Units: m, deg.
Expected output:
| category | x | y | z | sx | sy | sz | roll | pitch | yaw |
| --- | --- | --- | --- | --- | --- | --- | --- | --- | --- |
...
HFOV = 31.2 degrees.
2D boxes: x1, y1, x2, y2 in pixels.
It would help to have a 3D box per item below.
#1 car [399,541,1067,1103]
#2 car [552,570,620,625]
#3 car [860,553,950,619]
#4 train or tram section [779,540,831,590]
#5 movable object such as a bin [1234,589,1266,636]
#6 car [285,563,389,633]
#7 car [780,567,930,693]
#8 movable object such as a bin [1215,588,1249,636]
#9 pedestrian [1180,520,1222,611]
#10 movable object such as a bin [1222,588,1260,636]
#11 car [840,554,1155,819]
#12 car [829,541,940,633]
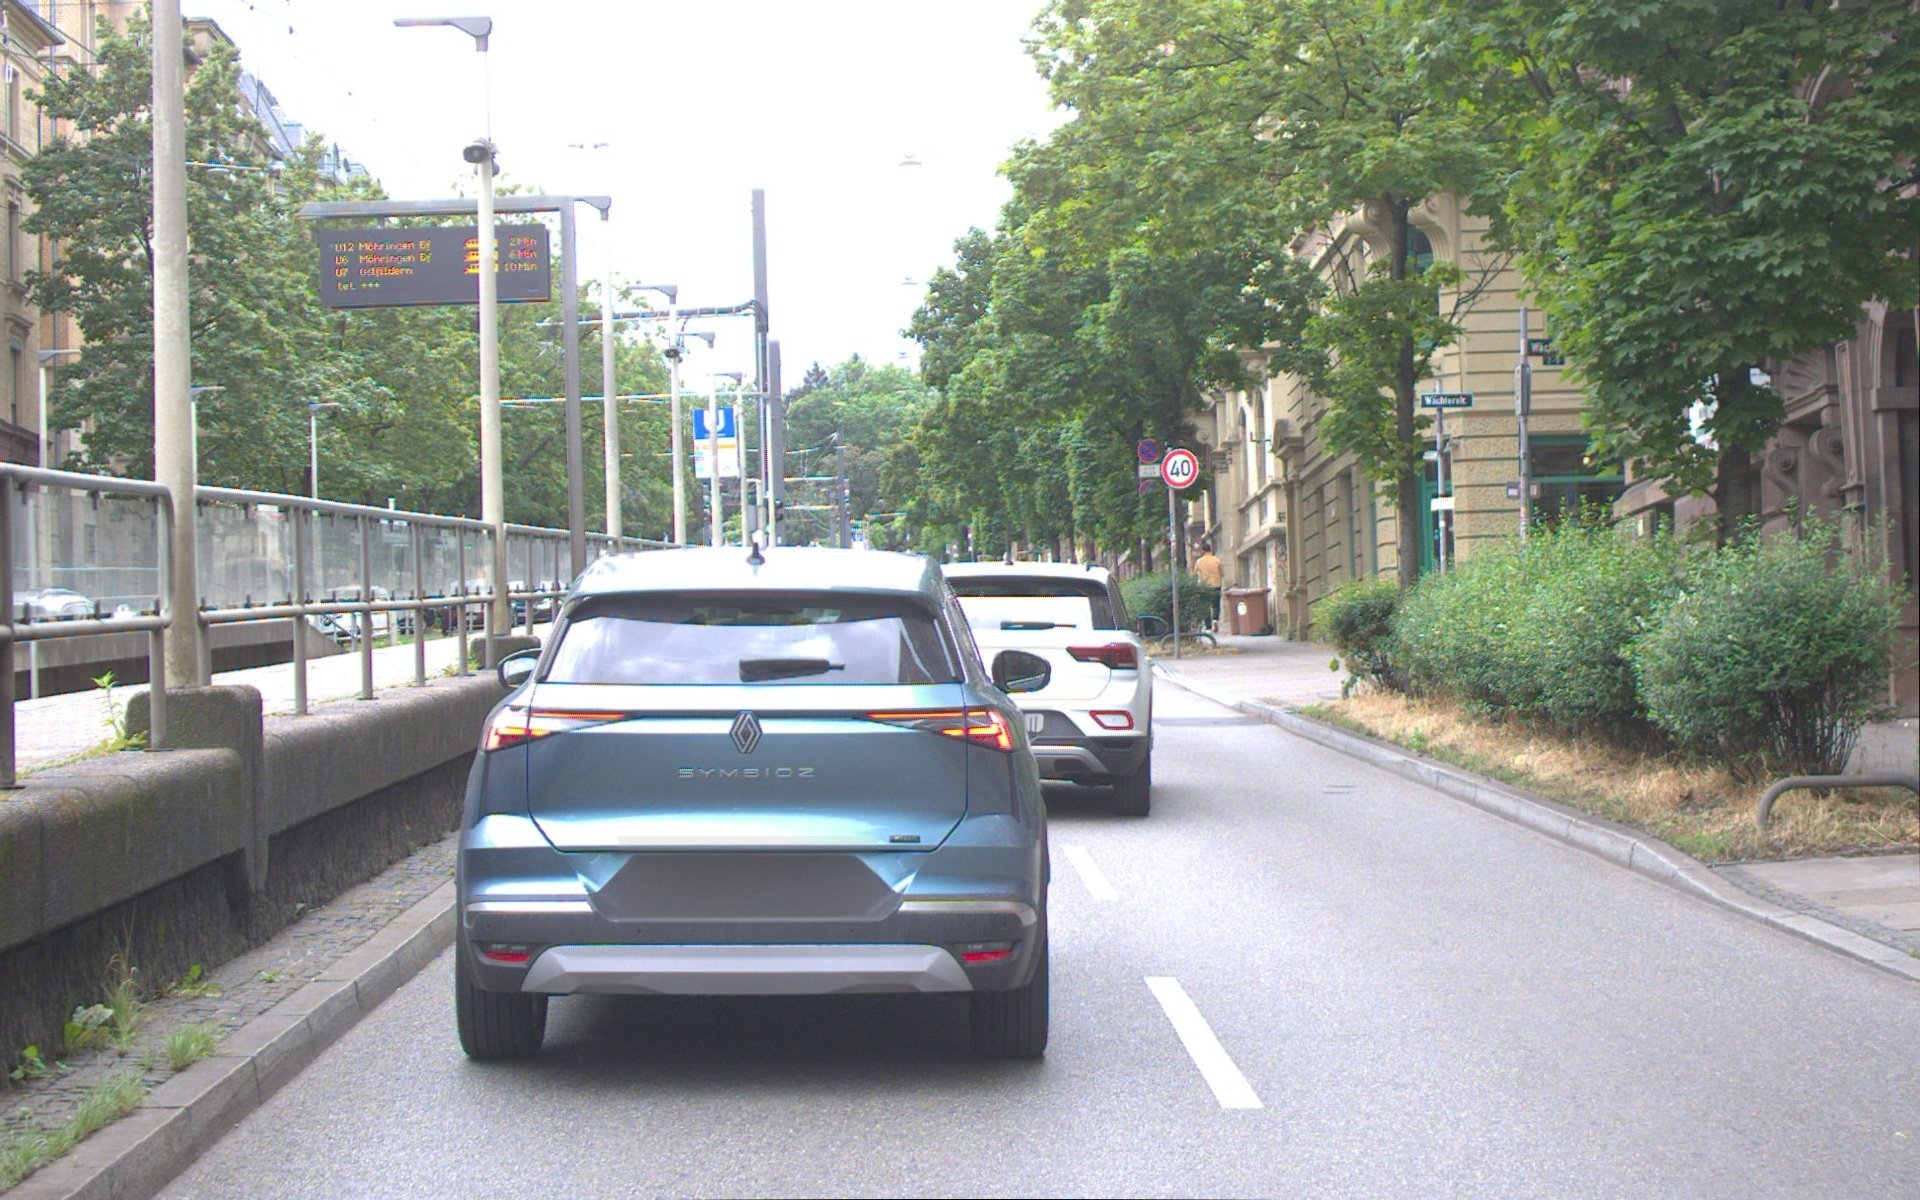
| category | x | y | z | sx | sy | sz | roll | pitch | yaw |
| --- | --- | --- | --- | --- | --- | --- | --- | --- | --- |
| car | -0.651 | 0.612 | 11.608 | 1.835 | 1.541 | 4.193 | 0 | 0 | -1 |
| car | -12.136 | -0.097 | 111.766 | 1.709 | 1.730 | 4.576 | -1 | 1 | 0 |
| car | -1.311 | -0.339 | 84.117 | 2.068 | 1.541 | 4.193 | 0 | 0 | 1 |
| train or tram section | -10.860 | -2.388 | 241.354 | 2.996 | 3.337 | 13.438 | -1 | 0 | 0 |
| movable object such as a bin | 5.696 | 0.247 | 67.544 | 0.500 | 0.916 | 0.443 | -1 | 1 | 19 |
| car | -15.817 | -0.071 | 87.410 | 1.935 | 1.674 | 4.000 | -2 | 1 | -1 |
| car | -1.323 | 0.369 | 44.571 | 1.835 | 1.541 | 4.193 | 0 | 0 | -1 |
| movable object such as a bin | 5.444 | 0.235 | 68.786 | 0.611 | 0.916 | 0.493 | -3 | 0 | 2 |
| pedestrian | 4.982 | -0.709 | 71.008 | 0.685 | 1.823 | 1.121 | -3 | 0 | -1 |
| movable object such as a bin | 5.580 | 0.242 | 68.197 | 0.500 | 0.916 | 0.493 | -3 | 0 | -42 |
| car | 0.318 | 0.504 | 22.291 | 1.836 | 1.541 | 4.193 | 0 | 0 | 3 |
| car | -1.292 | -0.218 | 59.837 | 1.835 | 1.541 | 4.193 | 0 | 0 | -1 |
